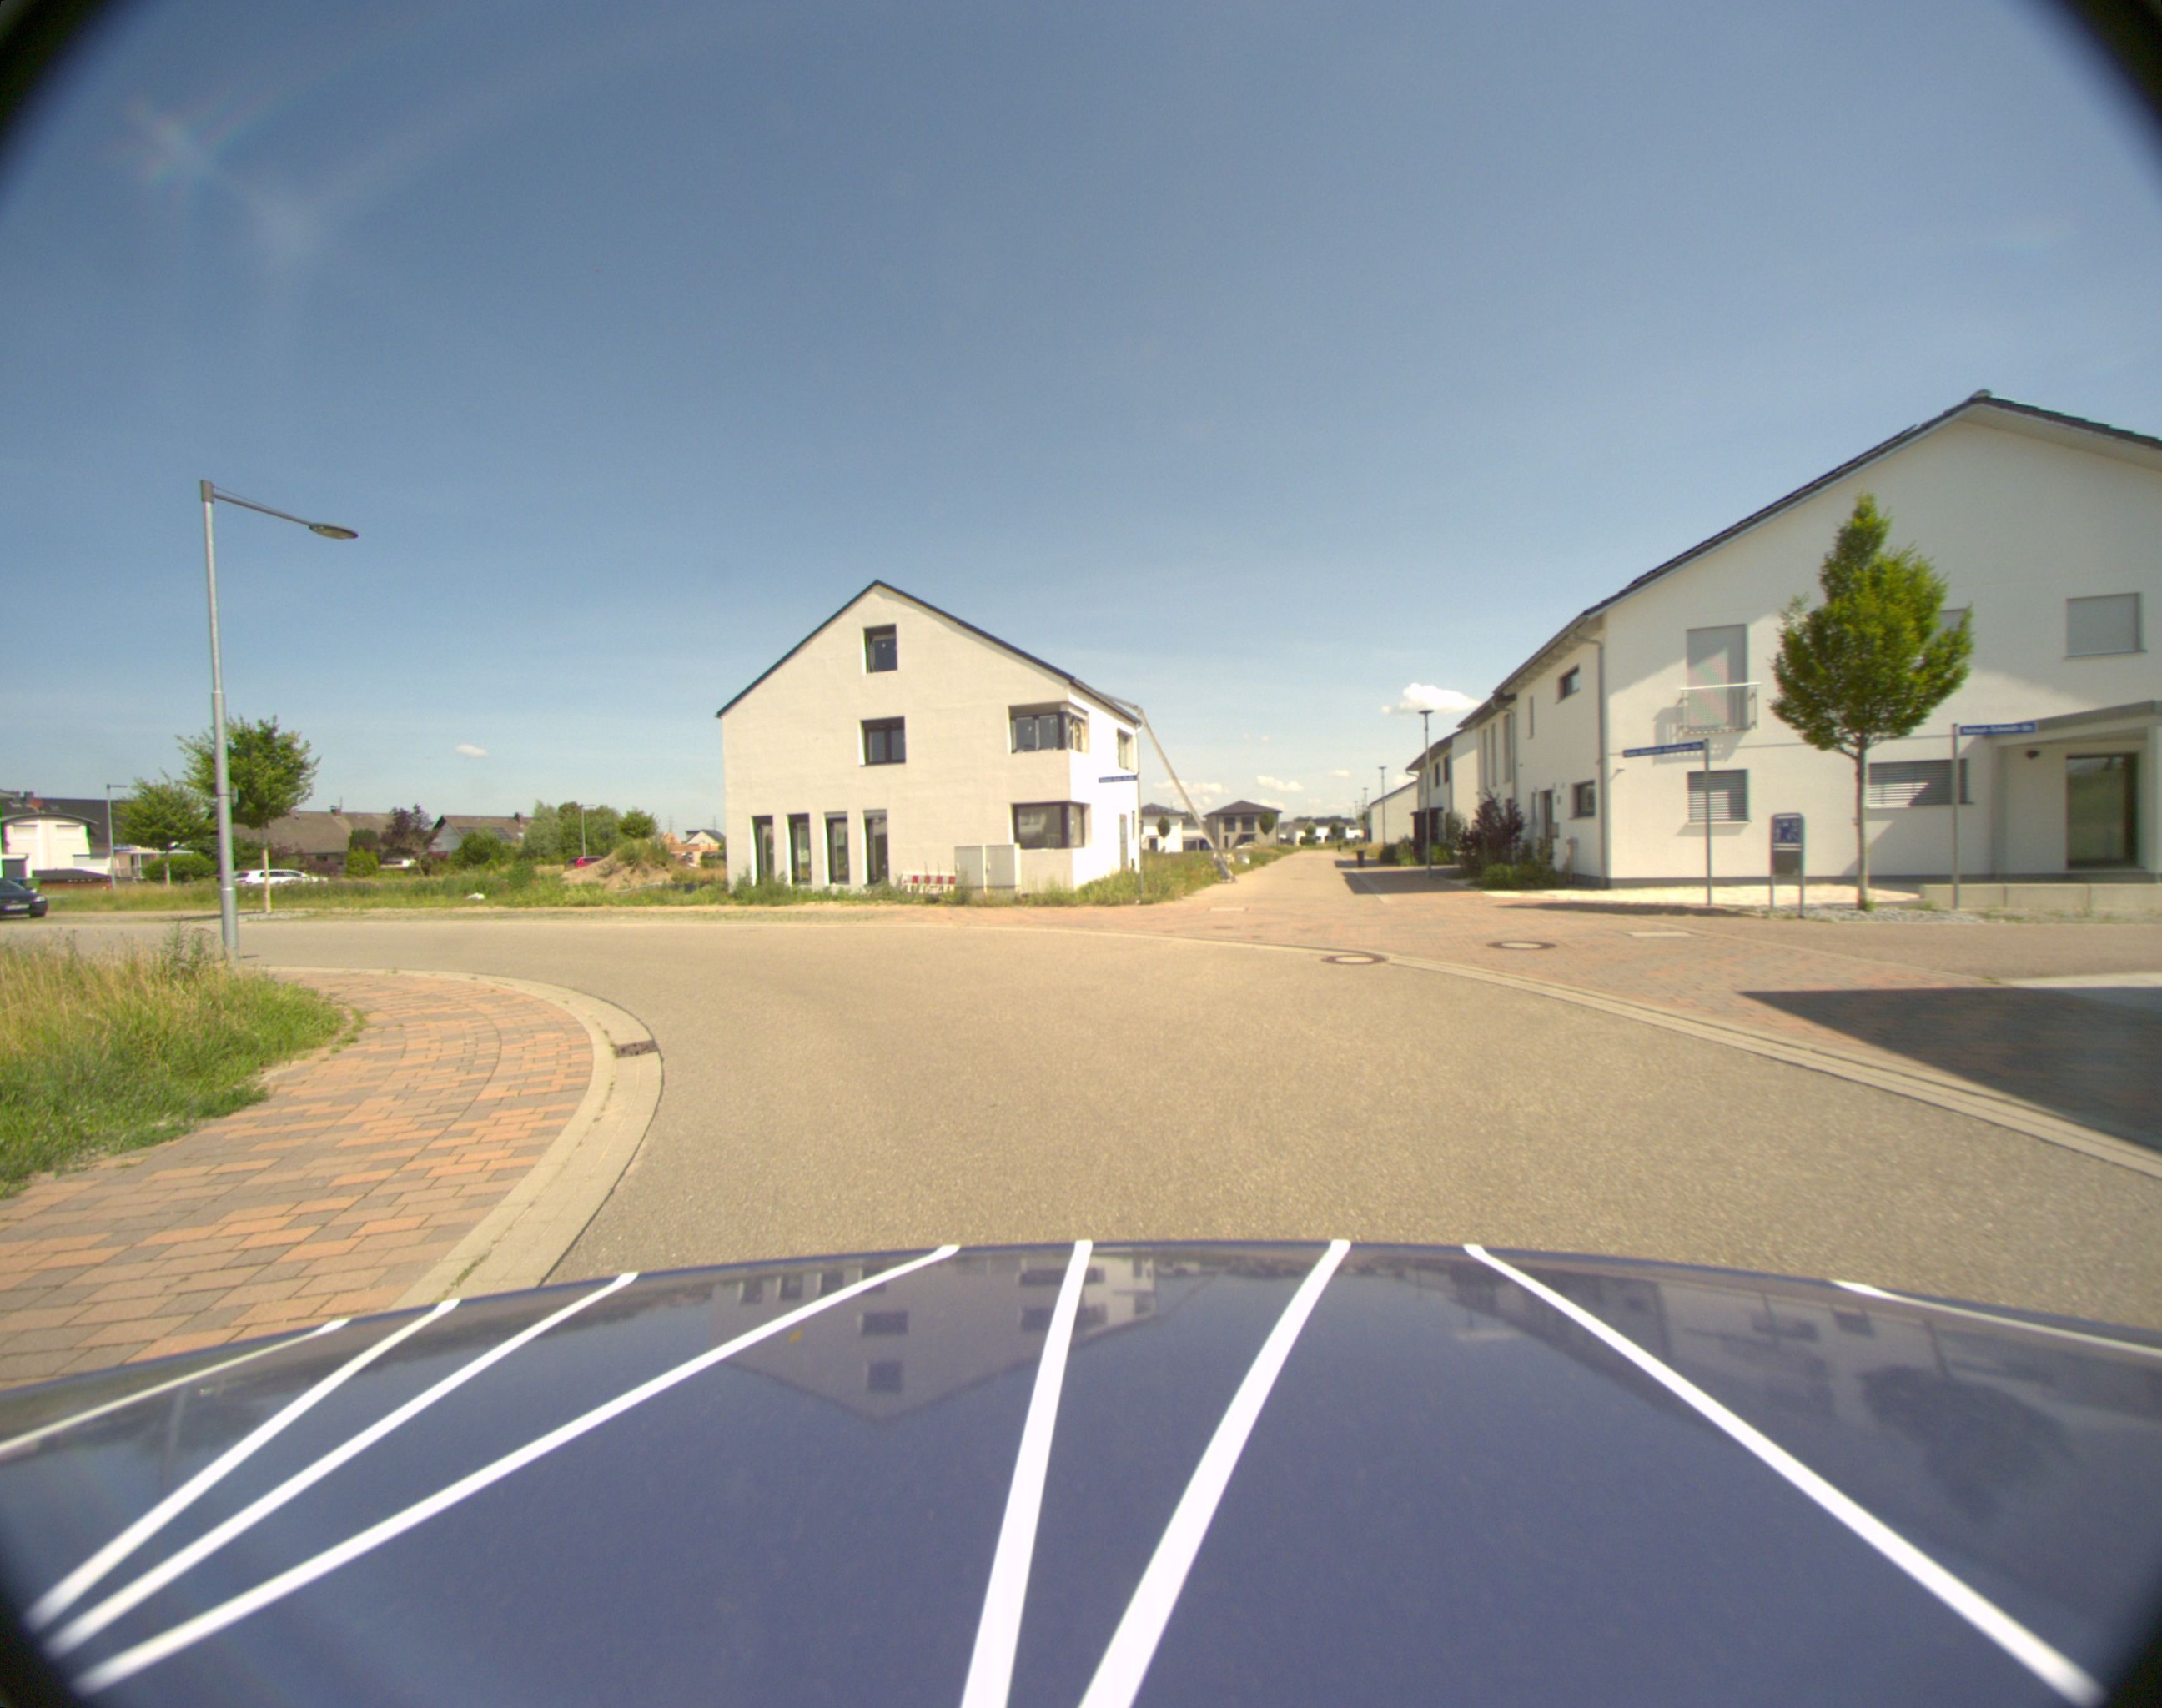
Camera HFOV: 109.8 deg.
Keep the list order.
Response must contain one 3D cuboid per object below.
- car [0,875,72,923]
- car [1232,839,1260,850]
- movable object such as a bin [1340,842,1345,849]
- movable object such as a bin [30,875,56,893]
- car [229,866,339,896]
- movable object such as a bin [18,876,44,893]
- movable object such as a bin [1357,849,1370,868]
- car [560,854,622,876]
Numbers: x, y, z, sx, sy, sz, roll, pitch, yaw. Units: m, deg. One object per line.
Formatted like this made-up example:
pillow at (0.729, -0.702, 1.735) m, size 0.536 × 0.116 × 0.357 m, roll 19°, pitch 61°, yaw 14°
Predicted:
car at (-36.897, 1.529, 25.746) m, size 4.136 × 1.446 × 1.819 m, roll -1°, pitch 3°, yaw 16°
car at (24.530, -1.365, 113.308) m, size 3.994 × 1.543 × 1.836 m, roll -1°, pitch 1°, yaw 10°
movable object such as a bin at (36.556, -1.193, 106.254) m, size 0.596 × 0.916 × 0.462 m, roll -1°, pitch 1°, yaw 19°
movable object such as a bin at (-62.303, 1.801, 45.600) m, size 0.739 × 0.999 × 0.686 m, roll -1°, pitch 1°, yaw 19°
car at (-46.632, 1.558, 44.578) m, size 1.805 × 1.494 × 4.005 m, roll -1°, pitch 1°, yaw 22°
movable object such as a bin at (-63.130, 1.817, 45.699) m, size 0.739 × 0.999 × 0.686 m, roll -1°, pitch 1°, yaw 19°
movable object such as a bin at (14.316, 0.218, 38.465) m, size 0.596 × 0.916 × 0.462 m, roll -1°, pitch 1°, yaw 19°
car at (-40.374, 0.905, 62.755) m, size 1.806 × 1.607 × 4.005 m, roll -1°, pitch 1°, yaw 18°
